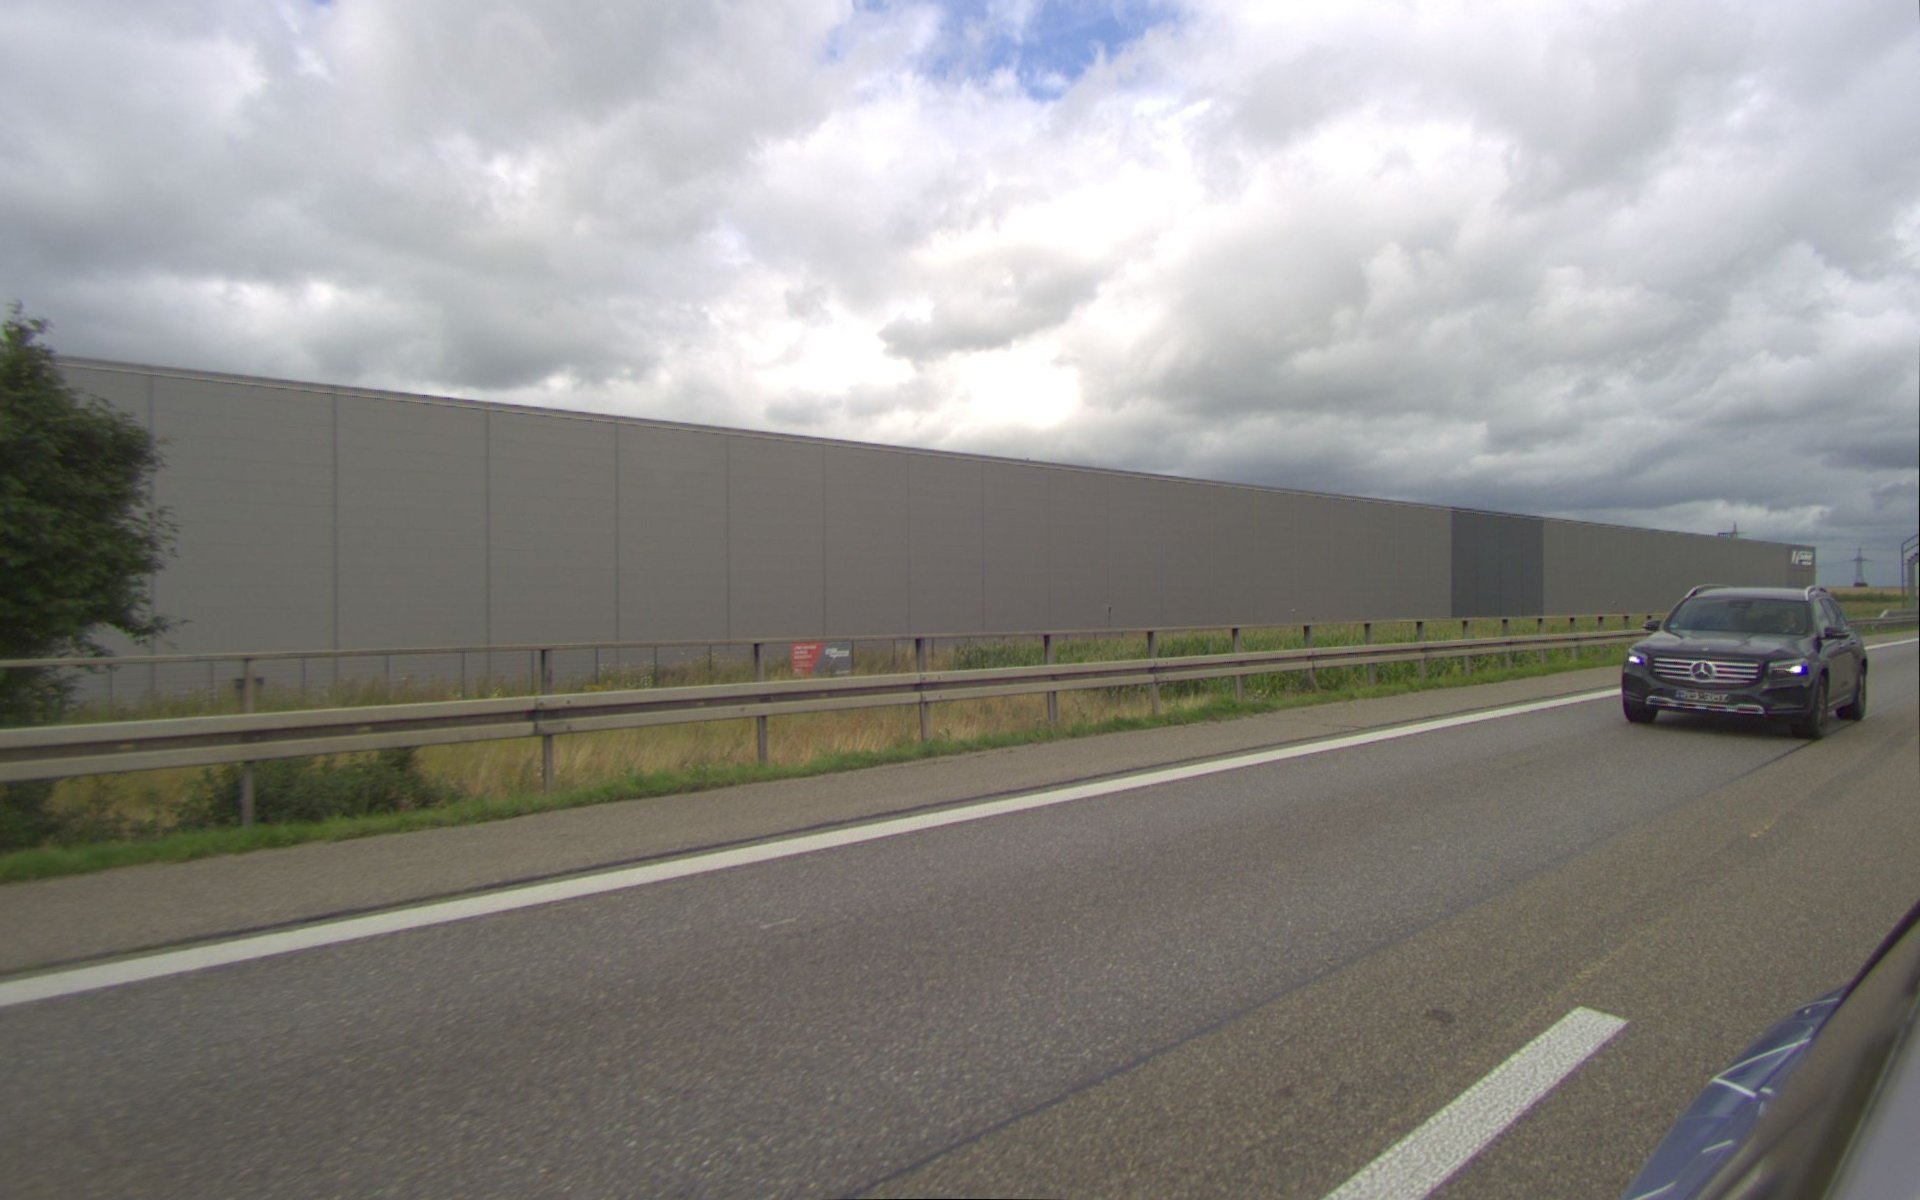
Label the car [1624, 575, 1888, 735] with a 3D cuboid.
[{"bbox_3d":[9.928,0.514,12.504,4.285,1.629,1.836,-1,2,-42],"label":"car"}]
